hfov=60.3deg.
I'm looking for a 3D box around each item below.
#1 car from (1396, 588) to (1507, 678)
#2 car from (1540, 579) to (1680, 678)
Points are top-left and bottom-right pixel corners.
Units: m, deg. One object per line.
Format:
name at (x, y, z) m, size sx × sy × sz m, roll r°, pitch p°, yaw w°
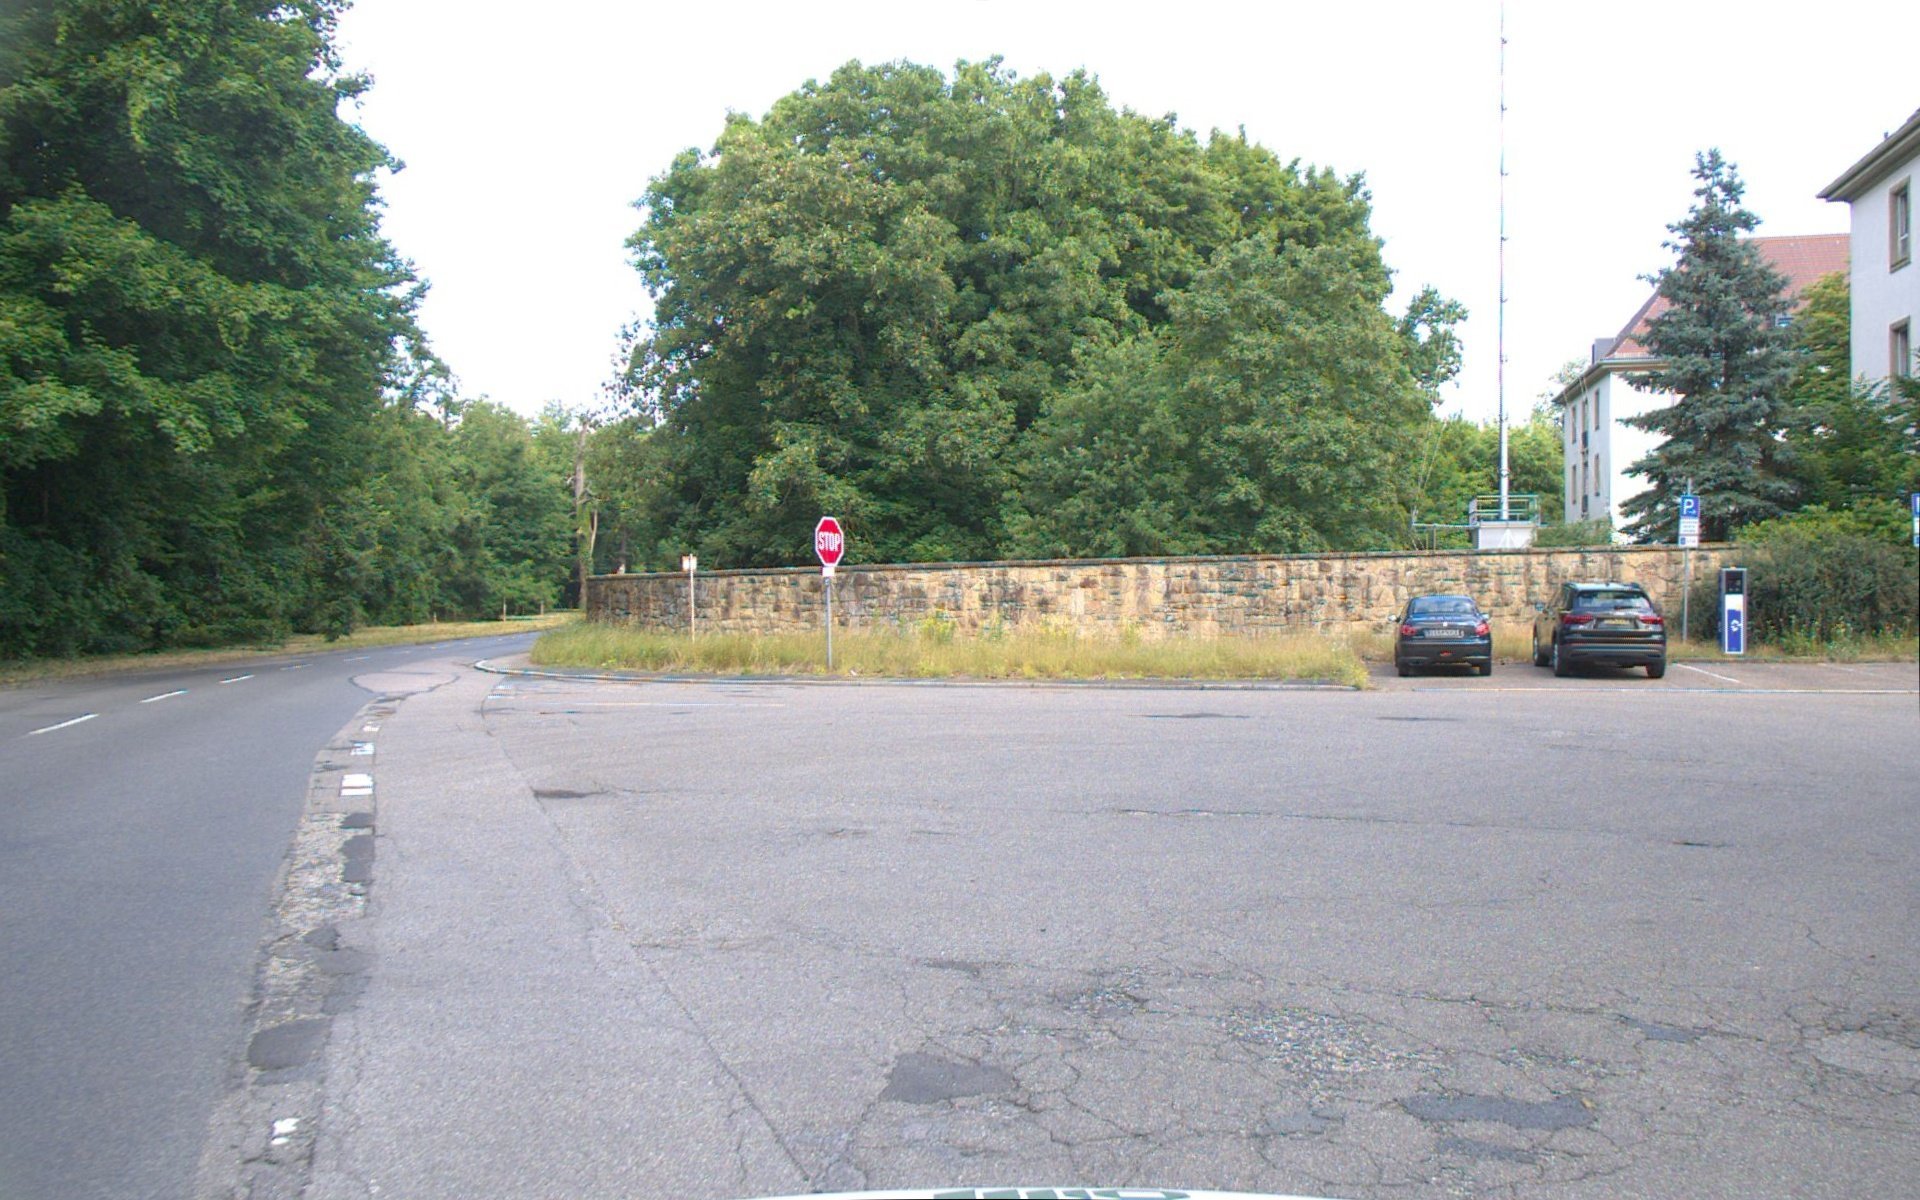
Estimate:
car at (9.076, 0.572, 30.726) m, size 1.833 × 1.466 × 4.003 m, roll -1°, pitch 1°, yaw 15°
car at (11.522, 0.457, 29.554) m, size 1.853 × 1.573 × 4.004 m, roll -1°, pitch 1°, yaw 15°
